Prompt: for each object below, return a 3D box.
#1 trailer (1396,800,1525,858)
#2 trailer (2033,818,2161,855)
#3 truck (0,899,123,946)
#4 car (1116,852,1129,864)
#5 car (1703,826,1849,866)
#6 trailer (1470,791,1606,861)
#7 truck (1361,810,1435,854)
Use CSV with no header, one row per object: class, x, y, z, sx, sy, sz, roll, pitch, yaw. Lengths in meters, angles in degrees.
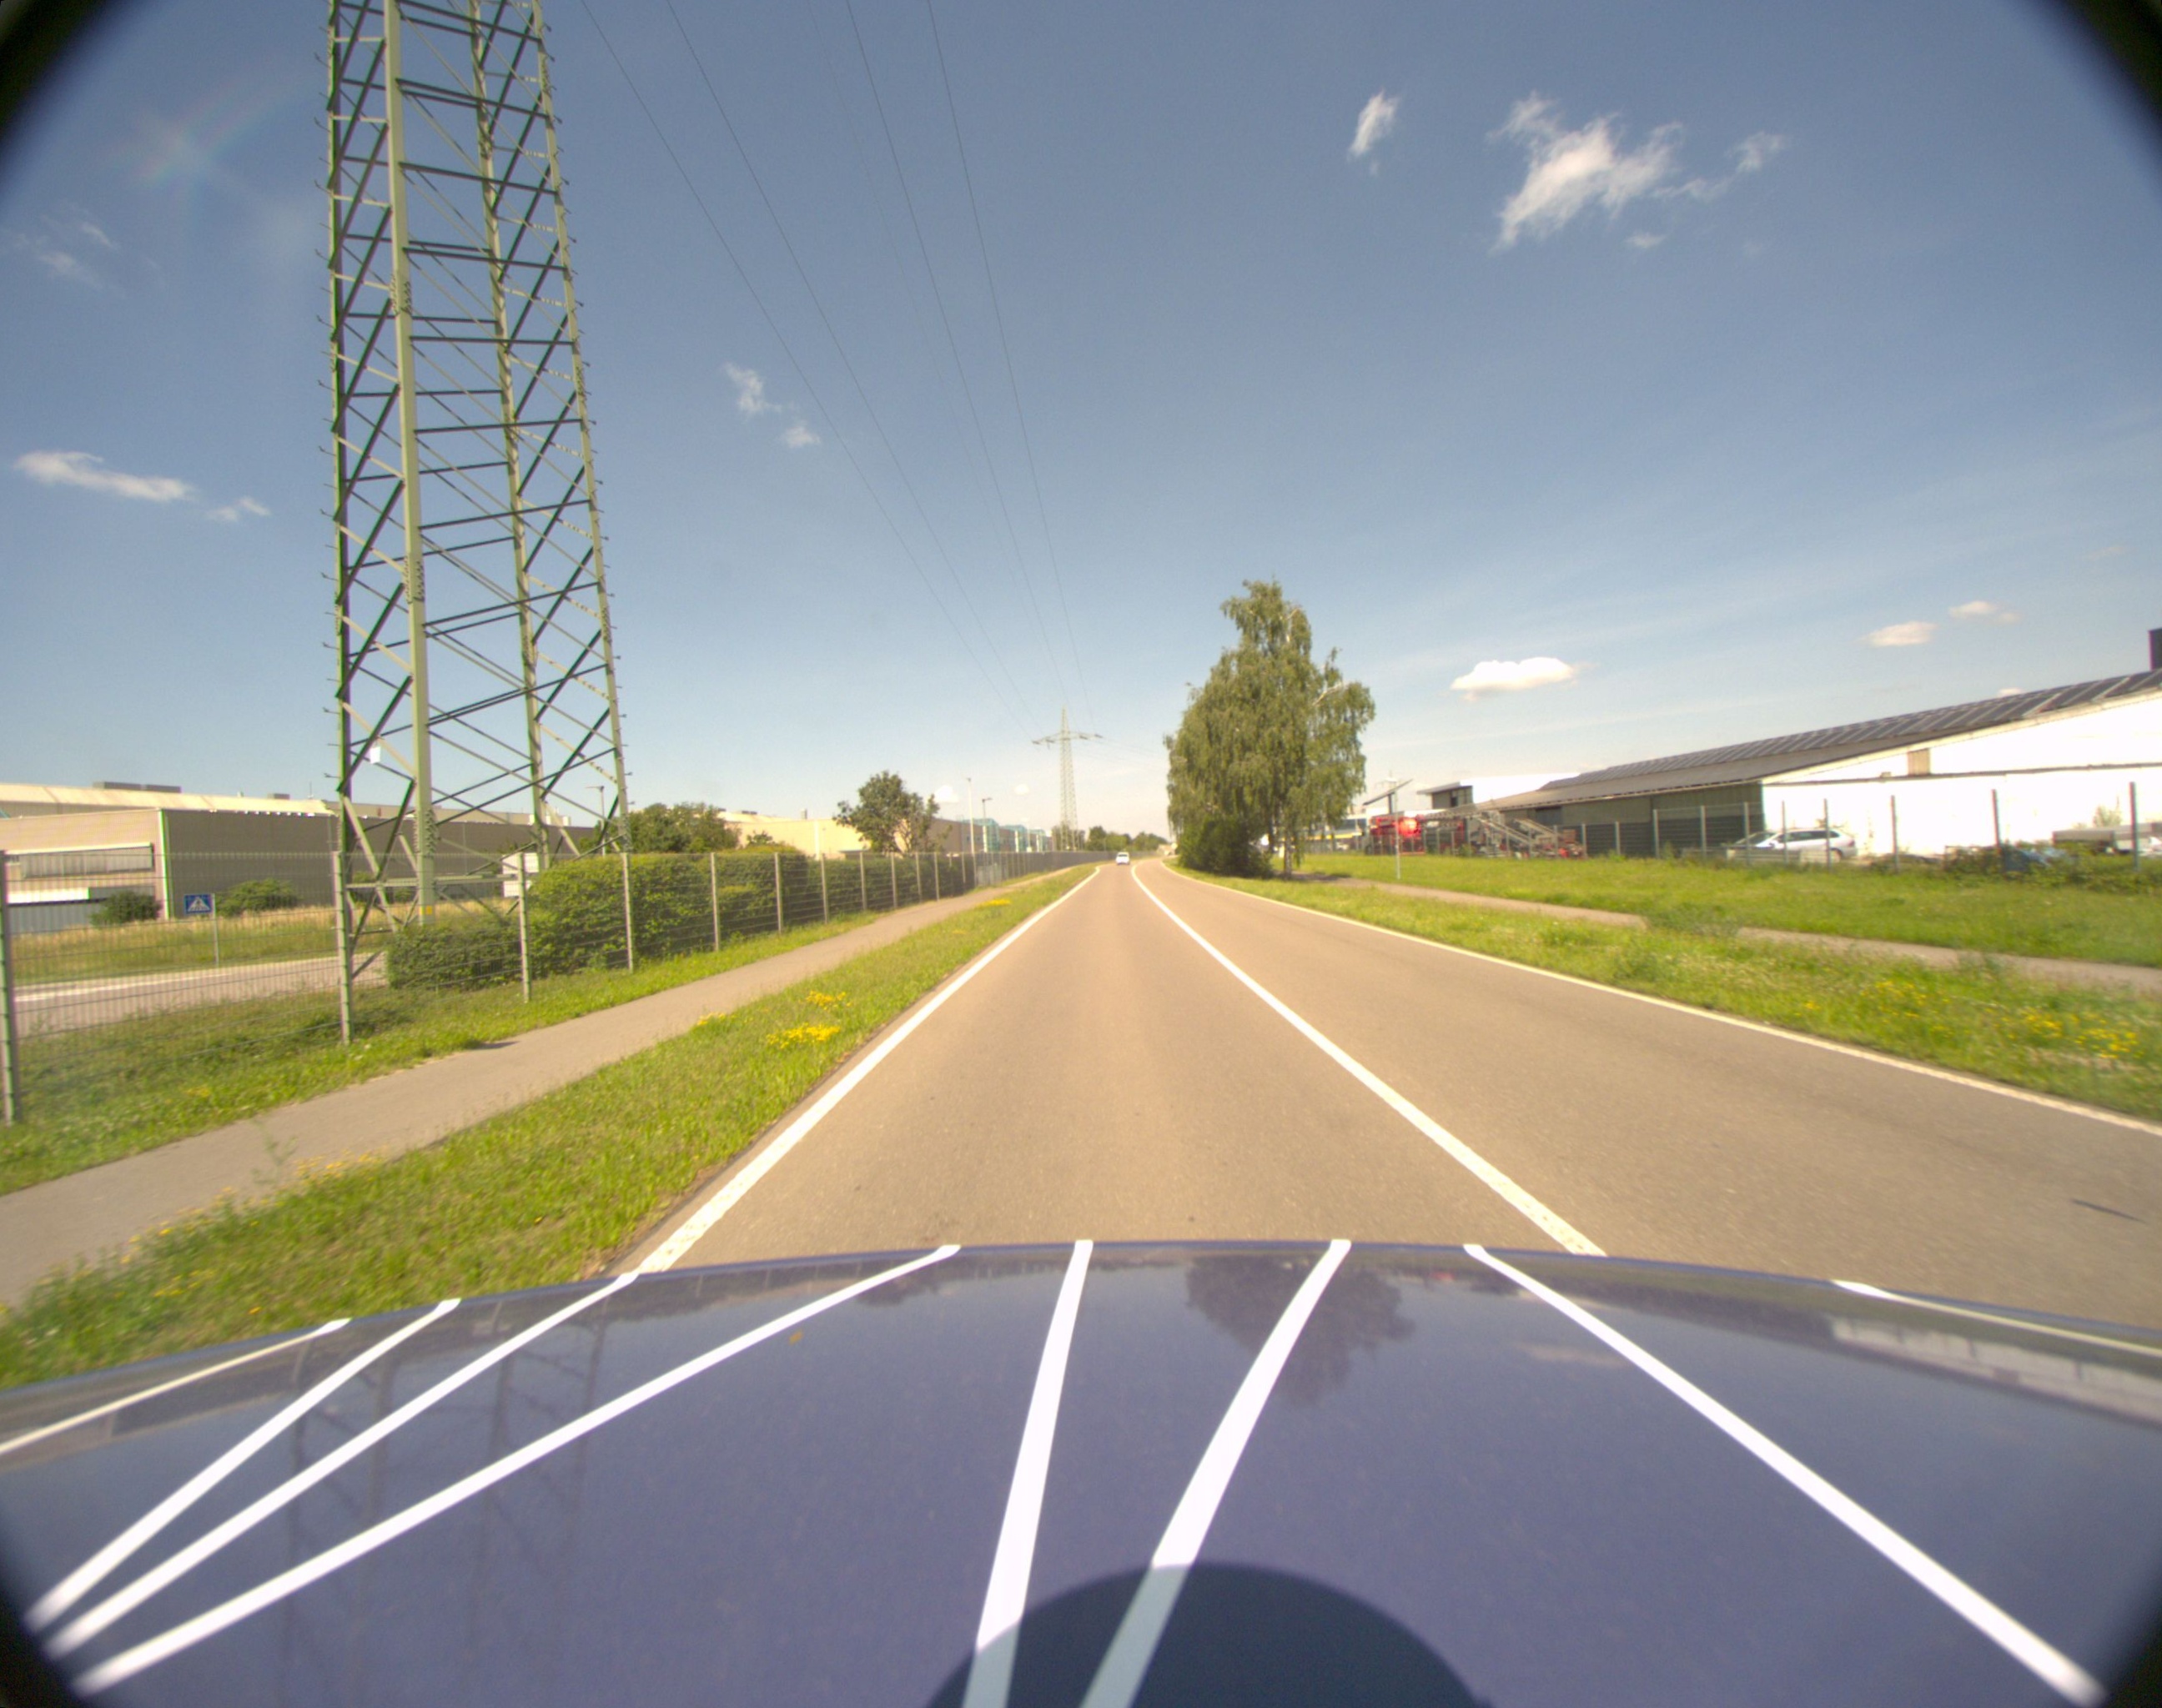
trailer,27.654,-1.733,56.693,3.297,3.624,14.928,-2,1,5
trailer,36.853,-0.636,26.765,3.996,1.159,1.905,-2,1,4
truck,-78.692,5.186,55.372,1.998,2.944,11.854,-4,0,4
car,6.296,0.606,114.080,1.836,1.796,4.831,-1,0,4
car,27.350,-0.292,30.027,3.995,1.335,1.748,-3,0,5
trailer,26.666,-1.562,44.959,3.406,3.624,8.660,-2,1,5
truck,28.693,-1.918,69.395,3.108,3.624,10.596,-2,1,5
